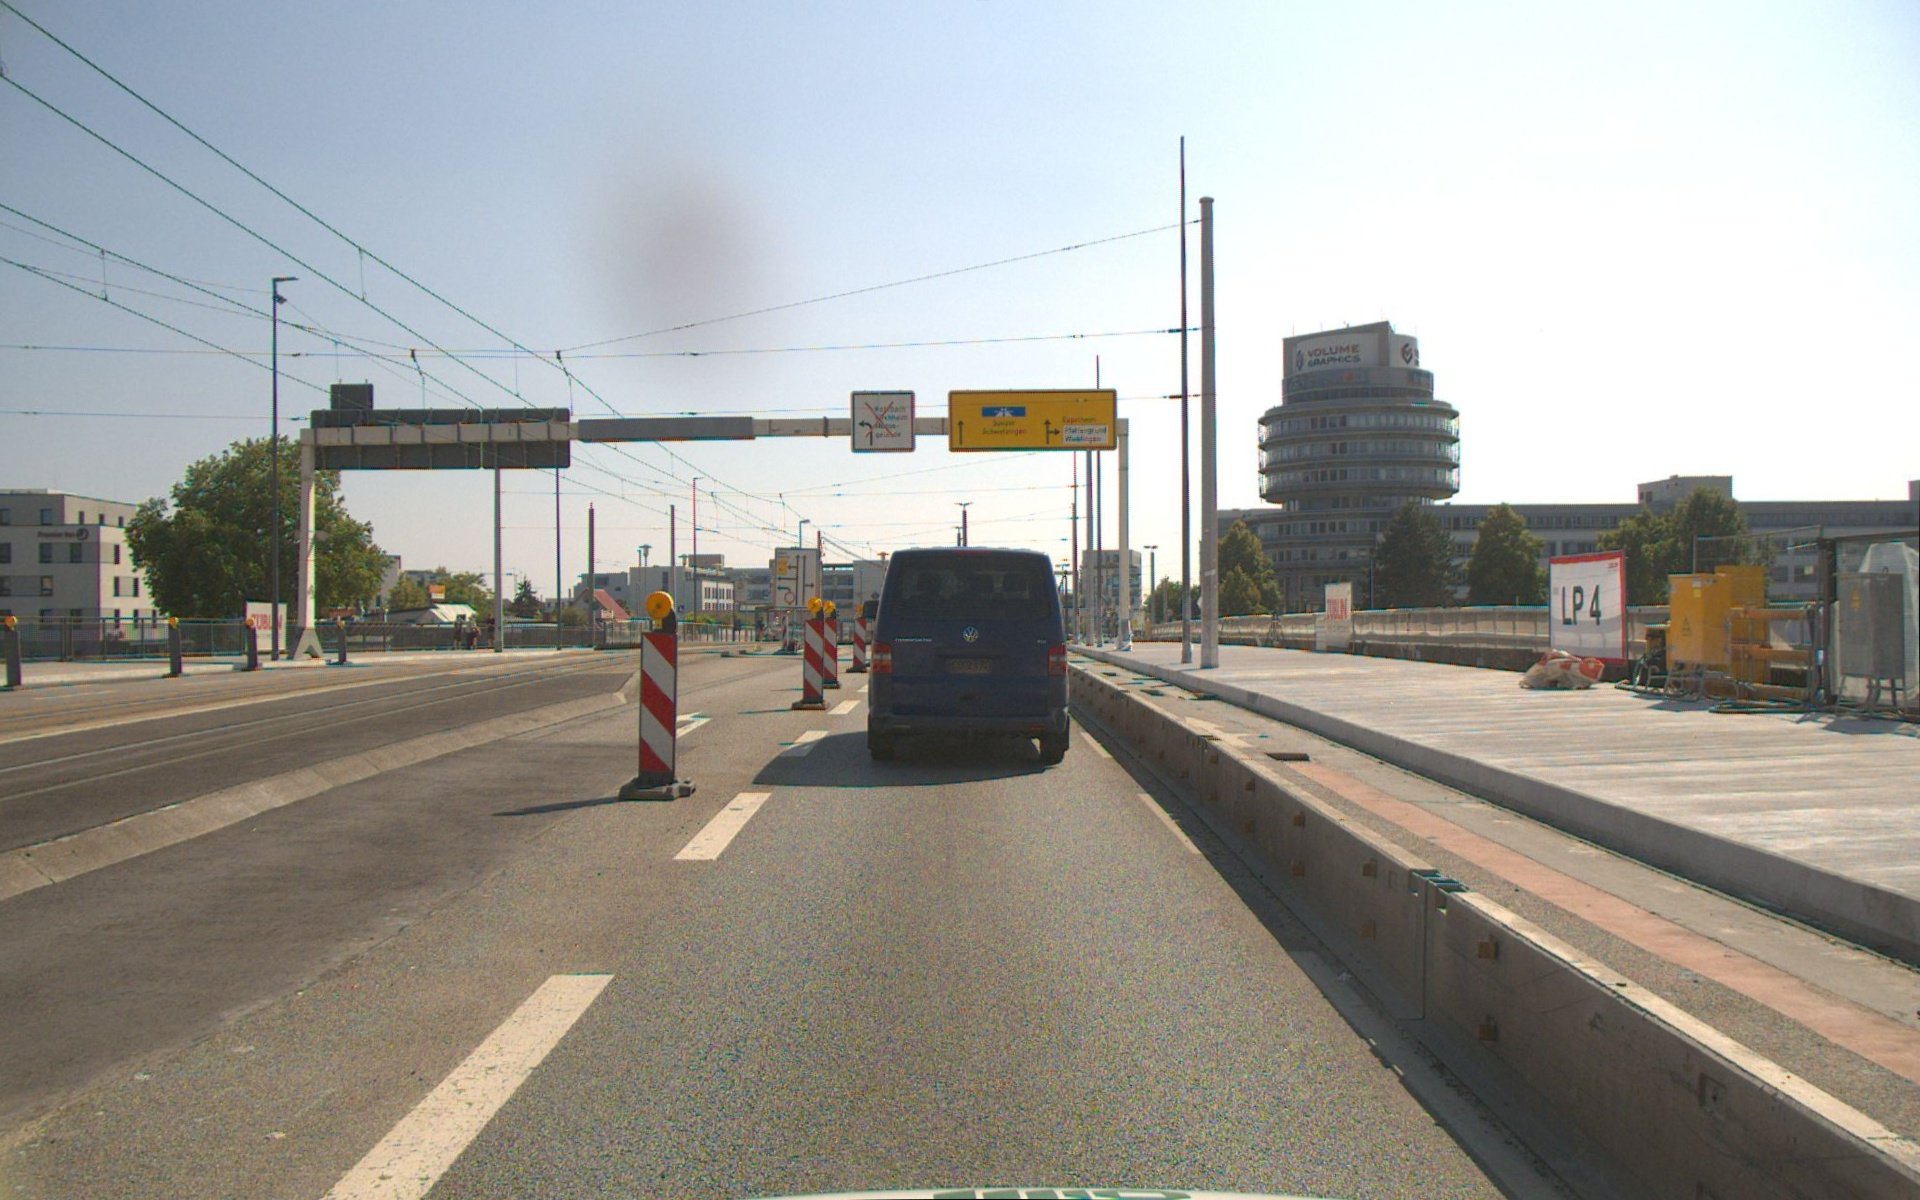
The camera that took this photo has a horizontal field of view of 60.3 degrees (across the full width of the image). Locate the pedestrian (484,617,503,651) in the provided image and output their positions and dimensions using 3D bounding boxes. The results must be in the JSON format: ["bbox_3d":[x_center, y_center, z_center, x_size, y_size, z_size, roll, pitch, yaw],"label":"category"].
[{"bbox_3d":[-24.231,1.751,85.856,0.737,1.717,0.732,-1,-1,3],"label":"pedestrian"}]

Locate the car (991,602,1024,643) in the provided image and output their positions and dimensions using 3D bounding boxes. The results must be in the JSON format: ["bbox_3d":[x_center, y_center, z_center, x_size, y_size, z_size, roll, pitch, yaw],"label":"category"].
[{"bbox_3d":[3.519,1.679,123.257,2.290,2.937,5.970,1,0,1],"label":"car"}]

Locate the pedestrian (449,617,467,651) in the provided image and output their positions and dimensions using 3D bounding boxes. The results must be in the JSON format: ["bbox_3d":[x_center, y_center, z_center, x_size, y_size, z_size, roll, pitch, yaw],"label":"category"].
[{"bbox_3d":[-25.309,1.712,83.399,0.585,1.717,0.818,-1,-1,3],"label":"pedestrian"}]

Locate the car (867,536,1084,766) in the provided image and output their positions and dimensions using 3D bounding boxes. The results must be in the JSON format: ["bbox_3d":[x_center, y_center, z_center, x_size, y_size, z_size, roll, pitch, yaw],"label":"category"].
[{"bbox_3d":[0.115,0.463,16.357,1.849,1.968,3.999,1,-1,-1],"label":"car"}]

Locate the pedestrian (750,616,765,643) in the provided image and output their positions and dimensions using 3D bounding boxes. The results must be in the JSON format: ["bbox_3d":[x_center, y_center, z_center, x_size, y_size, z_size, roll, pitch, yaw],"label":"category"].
[{"bbox_3d":[-12.478,1.830,101.974,0.646,1.683,0.740,-1,-1,14],"label":"pedestrian"}]

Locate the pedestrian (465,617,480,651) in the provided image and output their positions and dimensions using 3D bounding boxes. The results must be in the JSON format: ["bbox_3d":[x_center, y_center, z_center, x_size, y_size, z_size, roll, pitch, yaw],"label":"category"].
[{"bbox_3d":[-24.710,1.725,83.762,0.476,1.717,0.808,-1,-1,3],"label":"pedestrian"}]

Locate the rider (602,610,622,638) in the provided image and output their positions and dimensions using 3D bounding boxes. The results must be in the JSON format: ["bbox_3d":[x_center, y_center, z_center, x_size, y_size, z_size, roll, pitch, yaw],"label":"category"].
[{"bbox_3d":[-22.535,1.531,107.136,0.748,1.763,2.951,0,0,-1],"label":"rider"}]
